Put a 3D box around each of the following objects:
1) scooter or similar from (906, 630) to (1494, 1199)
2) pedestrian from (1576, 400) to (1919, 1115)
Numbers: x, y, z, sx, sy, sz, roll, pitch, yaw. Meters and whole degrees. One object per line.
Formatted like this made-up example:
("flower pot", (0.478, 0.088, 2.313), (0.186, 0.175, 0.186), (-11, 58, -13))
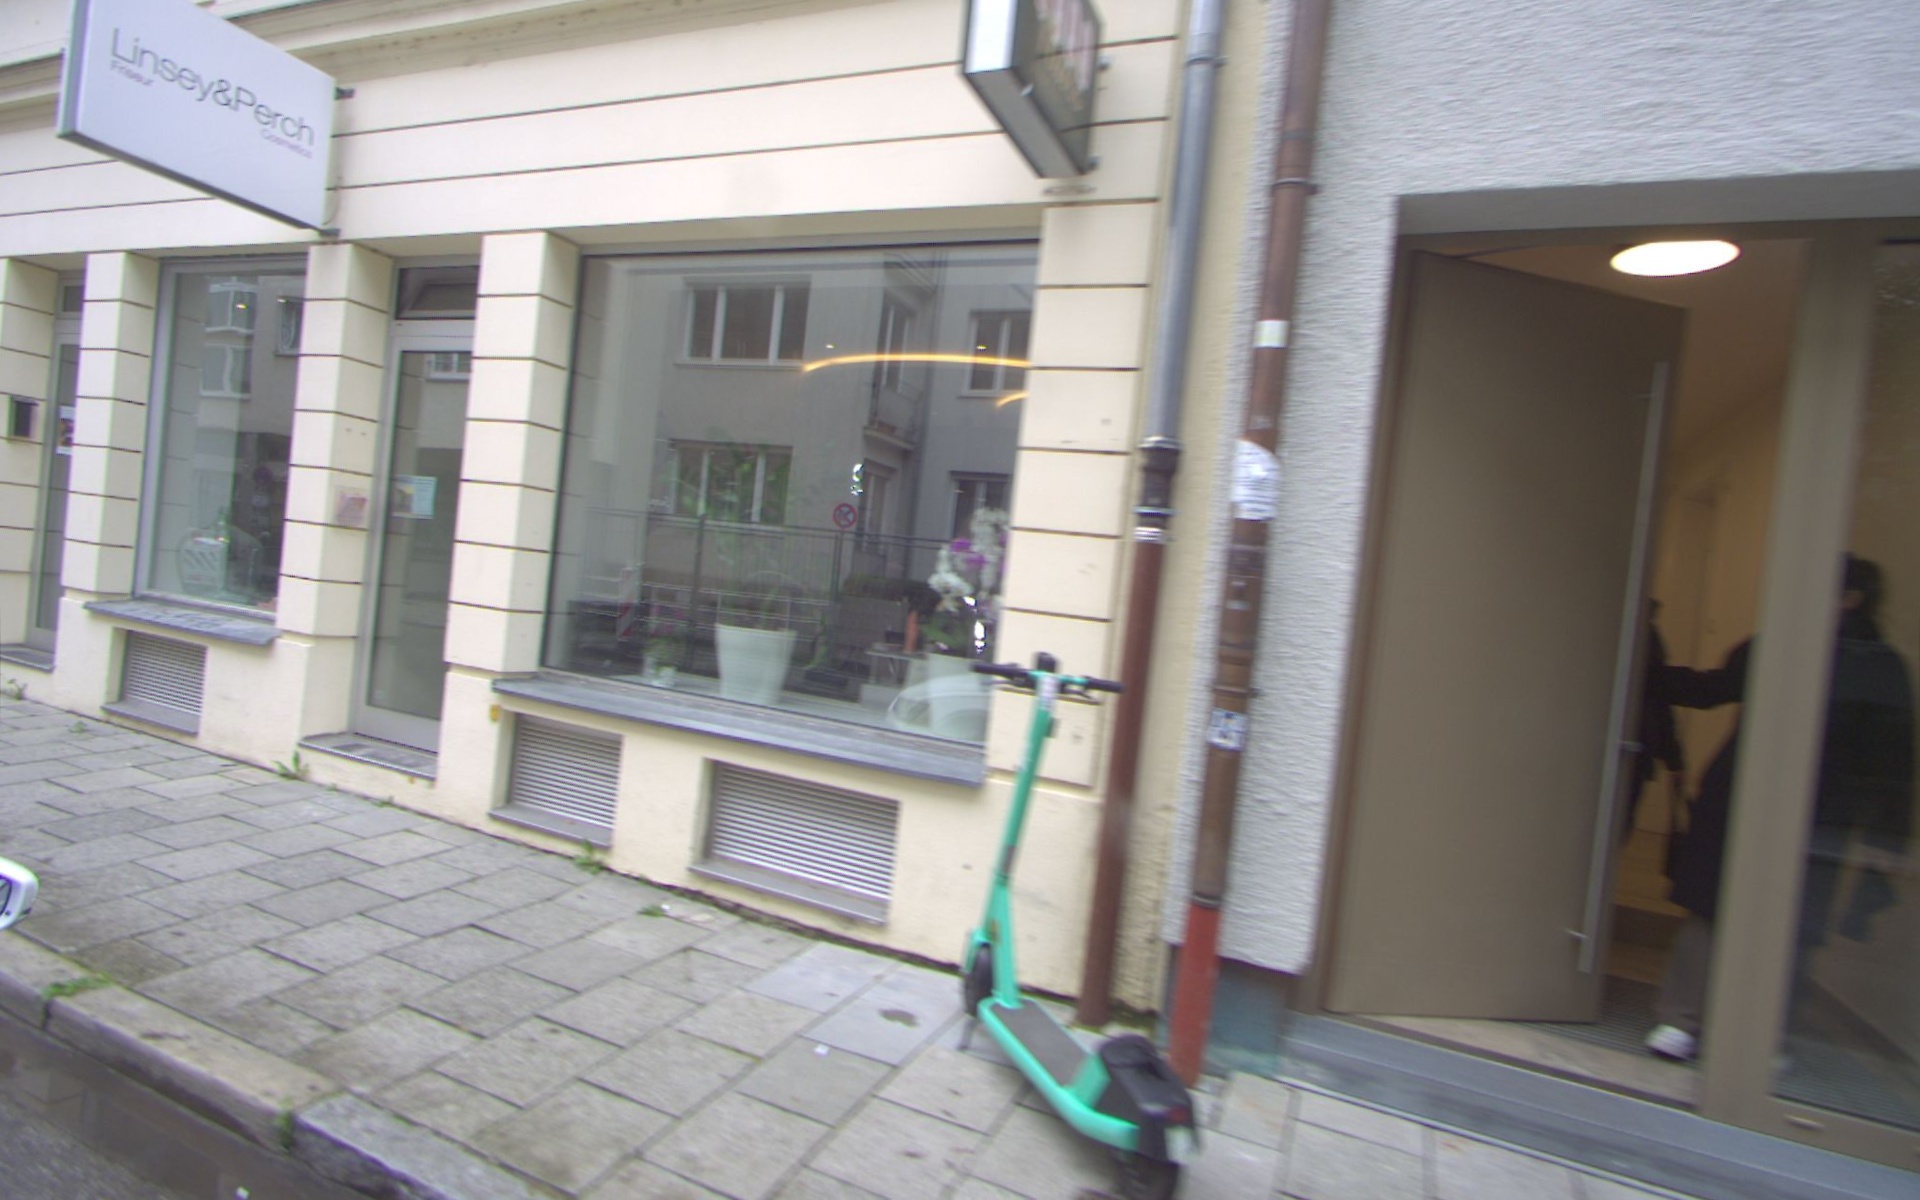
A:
("scooter or similar", (0.430, 0.776, 2.609), (0.488, 1.200, 1.596), (3, 4, -25))
("pedestrian", (2.635, 0.432, 3.248), (0.432, 2.043, 0.784), (1, 6, -39))
